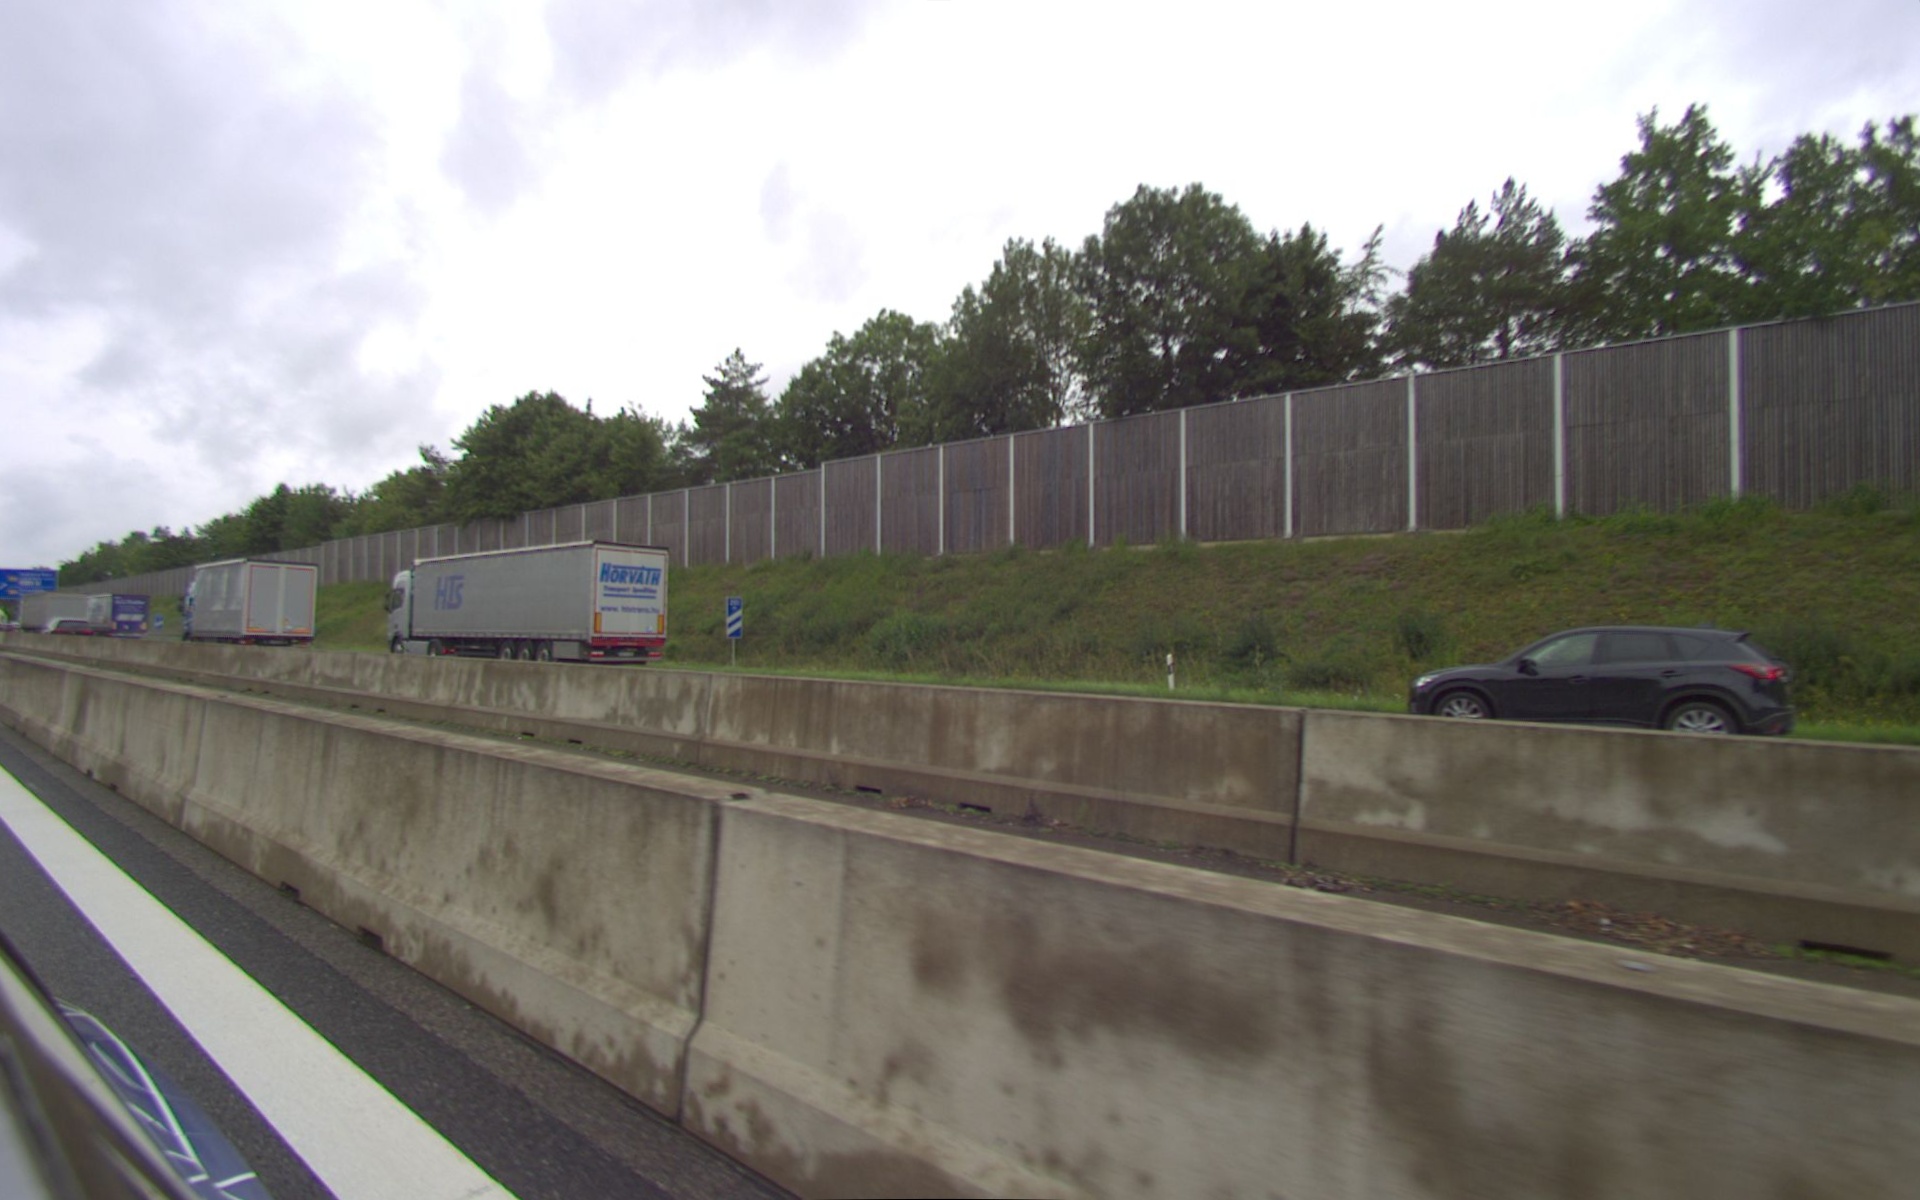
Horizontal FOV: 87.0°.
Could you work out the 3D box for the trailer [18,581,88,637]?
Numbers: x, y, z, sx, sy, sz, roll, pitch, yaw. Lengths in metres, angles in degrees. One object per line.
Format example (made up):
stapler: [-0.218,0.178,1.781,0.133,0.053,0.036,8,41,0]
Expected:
trailer: [-76.415,0.745,85.115,14.018,4.357,2.750,-1,0,42]

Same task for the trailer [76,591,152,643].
trailer: [-76.295,1.528,91.103,14.332,4.358,3.057,-1,-2,41]

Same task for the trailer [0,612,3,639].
trailer: [-147.911,3.754,153.684,10.641,3.953,2.683,-1,-4,42]

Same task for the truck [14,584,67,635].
truck: [-81.165,0.809,89.323,6.095,4.357,2.750,-1,0,41]

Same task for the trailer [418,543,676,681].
trailer: [-14.372,0.472,34.291,12.438,3.966,2.873,-1,-2,41]

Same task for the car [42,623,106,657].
car: [-47.704,2.120,54.476,4.999,1.749,1.972,-1,-2,41]

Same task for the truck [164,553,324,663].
truck: [-32.327,0.355,45.337,12.676,4.357,3.118,-1,0,42]

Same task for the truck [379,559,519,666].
truck: [-19.877,0.524,39.269,5.887,3.825,2.858,-1,-2,42]

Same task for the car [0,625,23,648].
car: [-74.352,2.820,78.576,4.355,1.702,1.952,-1,-2,41]

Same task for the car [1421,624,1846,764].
car: [8.801,1.154,13.488,4.479,1.549,1.972,-1,-5,41]
